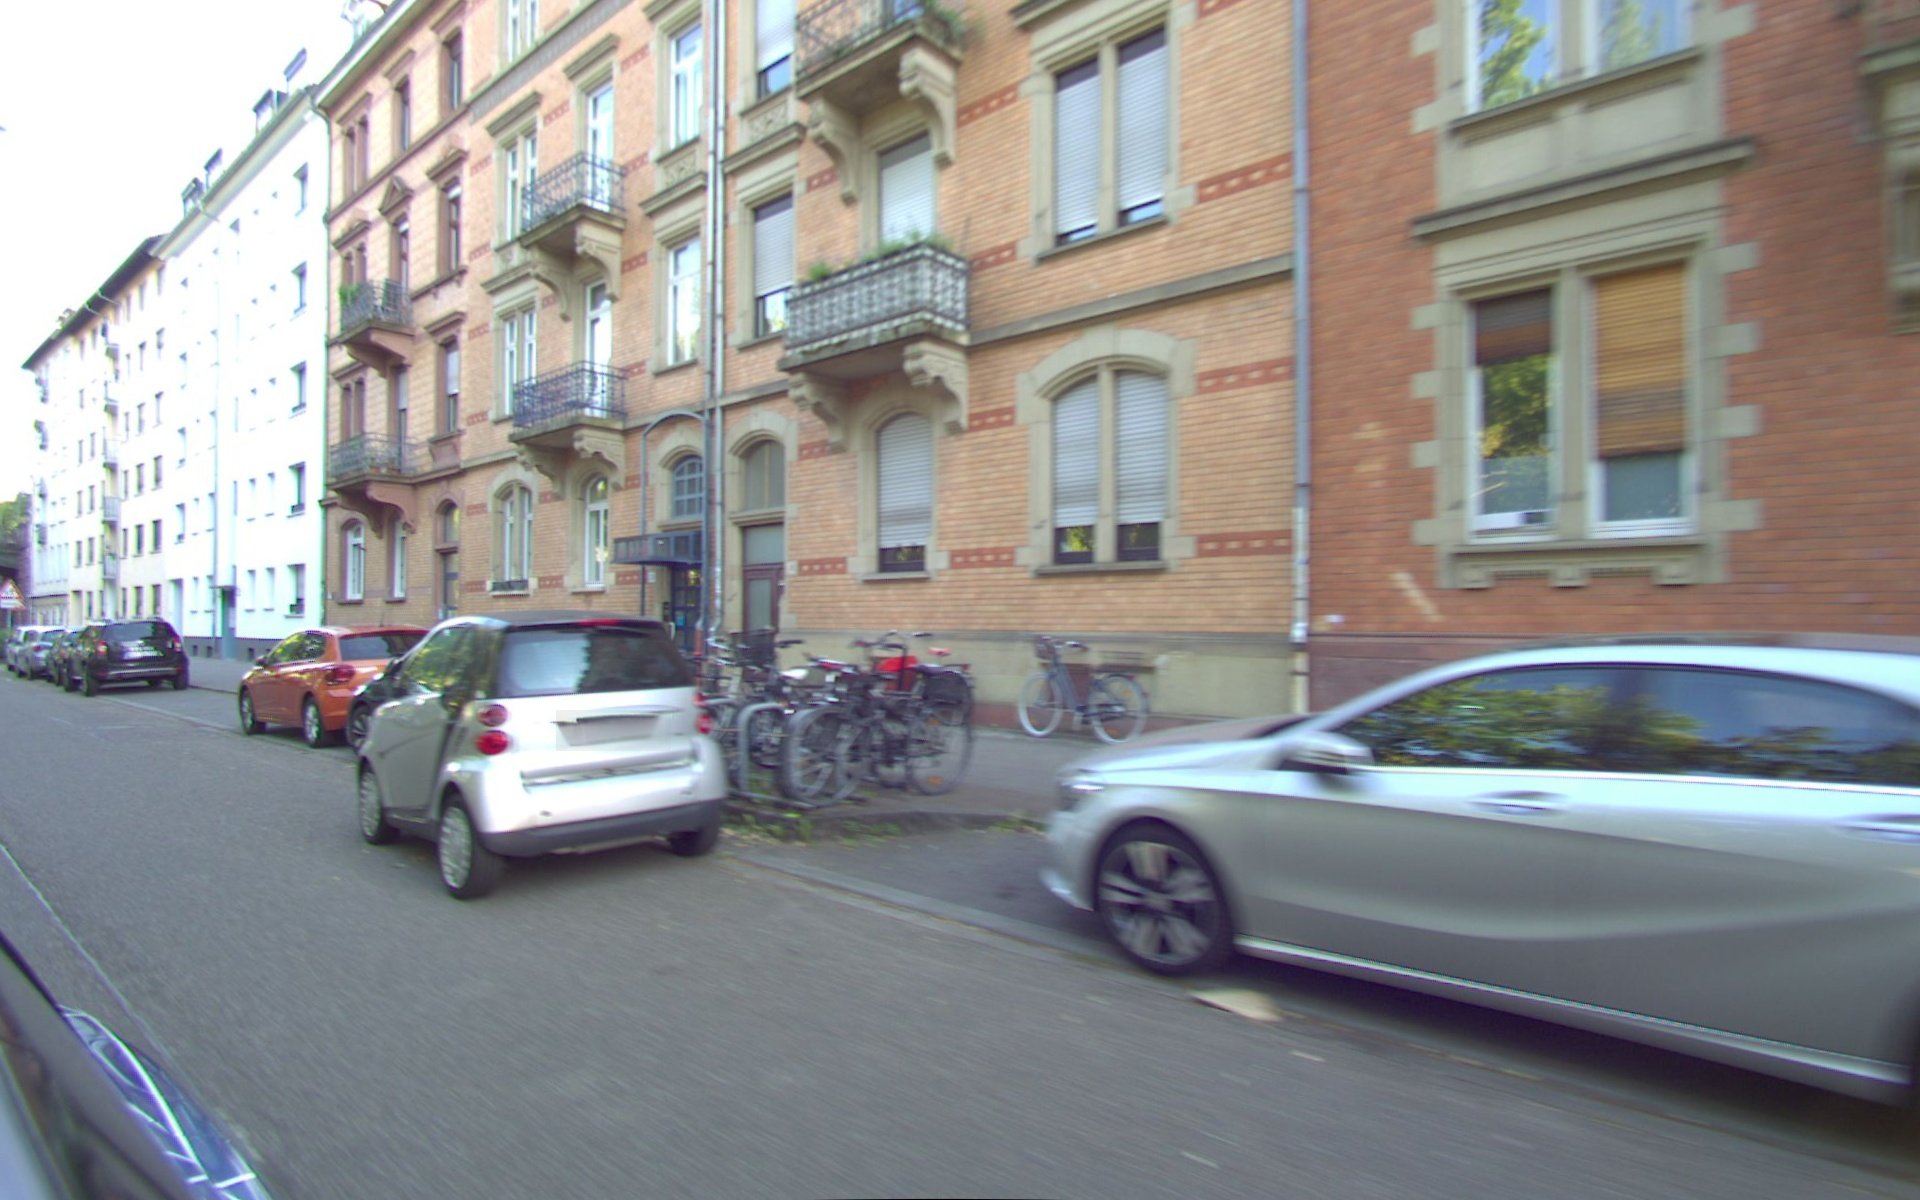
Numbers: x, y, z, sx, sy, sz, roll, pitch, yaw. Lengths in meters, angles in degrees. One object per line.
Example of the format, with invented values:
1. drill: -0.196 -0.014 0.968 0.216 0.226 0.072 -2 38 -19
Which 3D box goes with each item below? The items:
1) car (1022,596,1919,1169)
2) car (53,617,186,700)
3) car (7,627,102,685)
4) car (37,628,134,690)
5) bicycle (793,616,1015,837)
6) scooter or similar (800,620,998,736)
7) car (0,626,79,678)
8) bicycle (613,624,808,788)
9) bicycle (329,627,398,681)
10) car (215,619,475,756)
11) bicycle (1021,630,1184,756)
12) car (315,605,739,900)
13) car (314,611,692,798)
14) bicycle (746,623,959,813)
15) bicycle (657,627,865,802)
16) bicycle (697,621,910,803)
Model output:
1. car: 2.386 0.774 3.815 4.209 1.465 1.656 -2 -3 43
2. car: -19.326 1.284 23.210 4.198 1.719 1.733 -2 -1 41
3. car: -26.756 1.597 29.856 4.283 1.482 1.650 -1 1 43
4. car: -23.282 1.517 26.902 4.001 1.463 1.598 -2 0 44
5. bicycle: -0.345 0.805 7.179 0.495 1.358 1.744 1 0 41
6. scooter or similar: -0.817 0.899 12.564 2.703 1.231 0.775 1 0 42
7. car: -30.477 1.660 33.349 3.998 1.519 1.651 -1 1 42
8. bicycle: -2.116 0.848 8.909 0.439 1.224 2.077 0 0 26
9. bicycle: -14.403 1.284 24.394 2.514 1.216 0.729 -3 -2 43
10. car: -8.228 1.047 13.404 3.997 1.475 1.736 -2 0 40
11. bicycle: 1.435 0.914 10.462 0.422 1.139 1.770 0 0 -45
12. car: -2.846 0.807 6.480 2.753 1.446 1.488 -2 -3 43
13. car: -4.828 0.922 10.476 4.143 1.558 1.732 -1 0 36
14. bicycle: -0.745 0.800 7.528 0.428 1.224 1.744 1 0 41
15. bicycle: -1.554 0.852 8.162 0.441 1.224 1.744 1 0 41
16. bicycle: -1.159 0.796 7.831 0.464 1.224 1.744 1 0 41
